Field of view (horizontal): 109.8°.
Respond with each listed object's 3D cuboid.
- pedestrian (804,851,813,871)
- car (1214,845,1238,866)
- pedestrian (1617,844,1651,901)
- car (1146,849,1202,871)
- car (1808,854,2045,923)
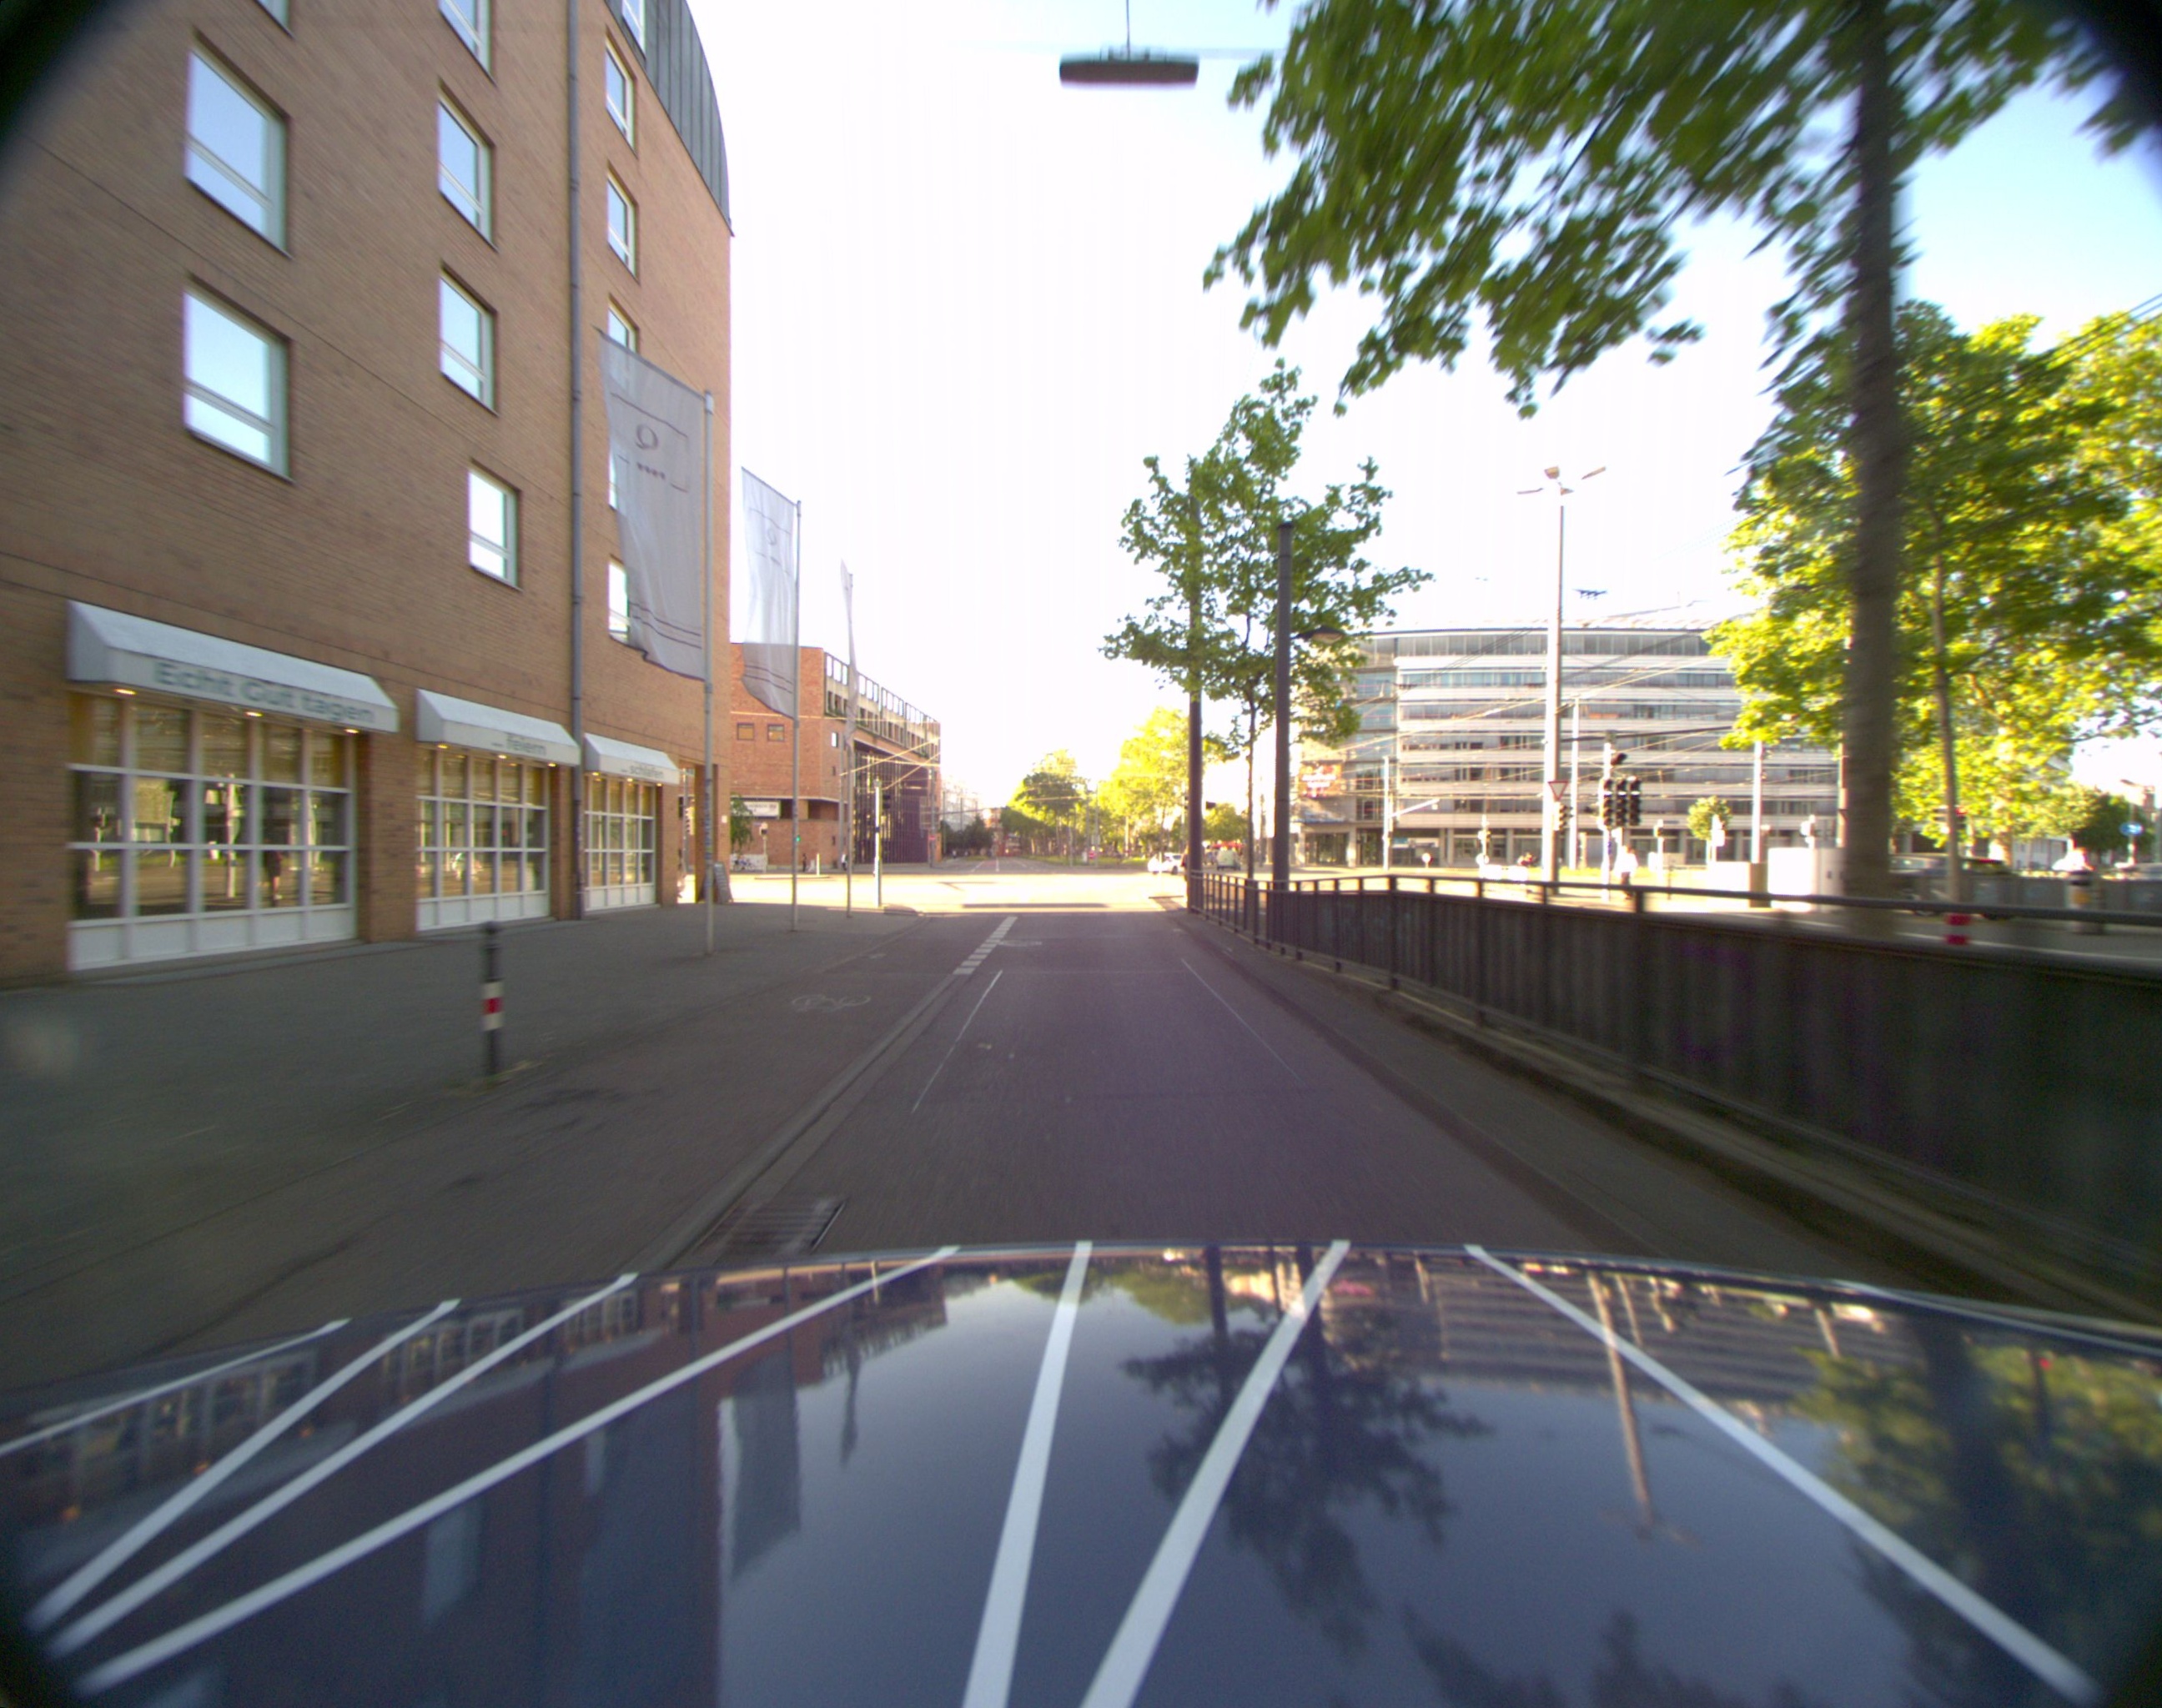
[{"bbox_3d":[-22.701,0.558,63.281,0.626,1.673,0.529,0,1,-9],"label":"pedestrian"},{"bbox_3d":[12.949,0.116,68.060,1.997,1.772,4.003,-2,0,9],"label":"car"},{"bbox_3d":[16.655,0.545,22.882,0.648,1.676,0.501,0,1,-2],"label":"pedestrian"},{"bbox_3d":[6.422,0.398,52.360,1.905,1.474,4.296,0,1,38],"label":"car"},{"bbox_3d":[19.646,0.737,17.891,1.871,1.447,3.342,0,1,1],"label":"car"}]
